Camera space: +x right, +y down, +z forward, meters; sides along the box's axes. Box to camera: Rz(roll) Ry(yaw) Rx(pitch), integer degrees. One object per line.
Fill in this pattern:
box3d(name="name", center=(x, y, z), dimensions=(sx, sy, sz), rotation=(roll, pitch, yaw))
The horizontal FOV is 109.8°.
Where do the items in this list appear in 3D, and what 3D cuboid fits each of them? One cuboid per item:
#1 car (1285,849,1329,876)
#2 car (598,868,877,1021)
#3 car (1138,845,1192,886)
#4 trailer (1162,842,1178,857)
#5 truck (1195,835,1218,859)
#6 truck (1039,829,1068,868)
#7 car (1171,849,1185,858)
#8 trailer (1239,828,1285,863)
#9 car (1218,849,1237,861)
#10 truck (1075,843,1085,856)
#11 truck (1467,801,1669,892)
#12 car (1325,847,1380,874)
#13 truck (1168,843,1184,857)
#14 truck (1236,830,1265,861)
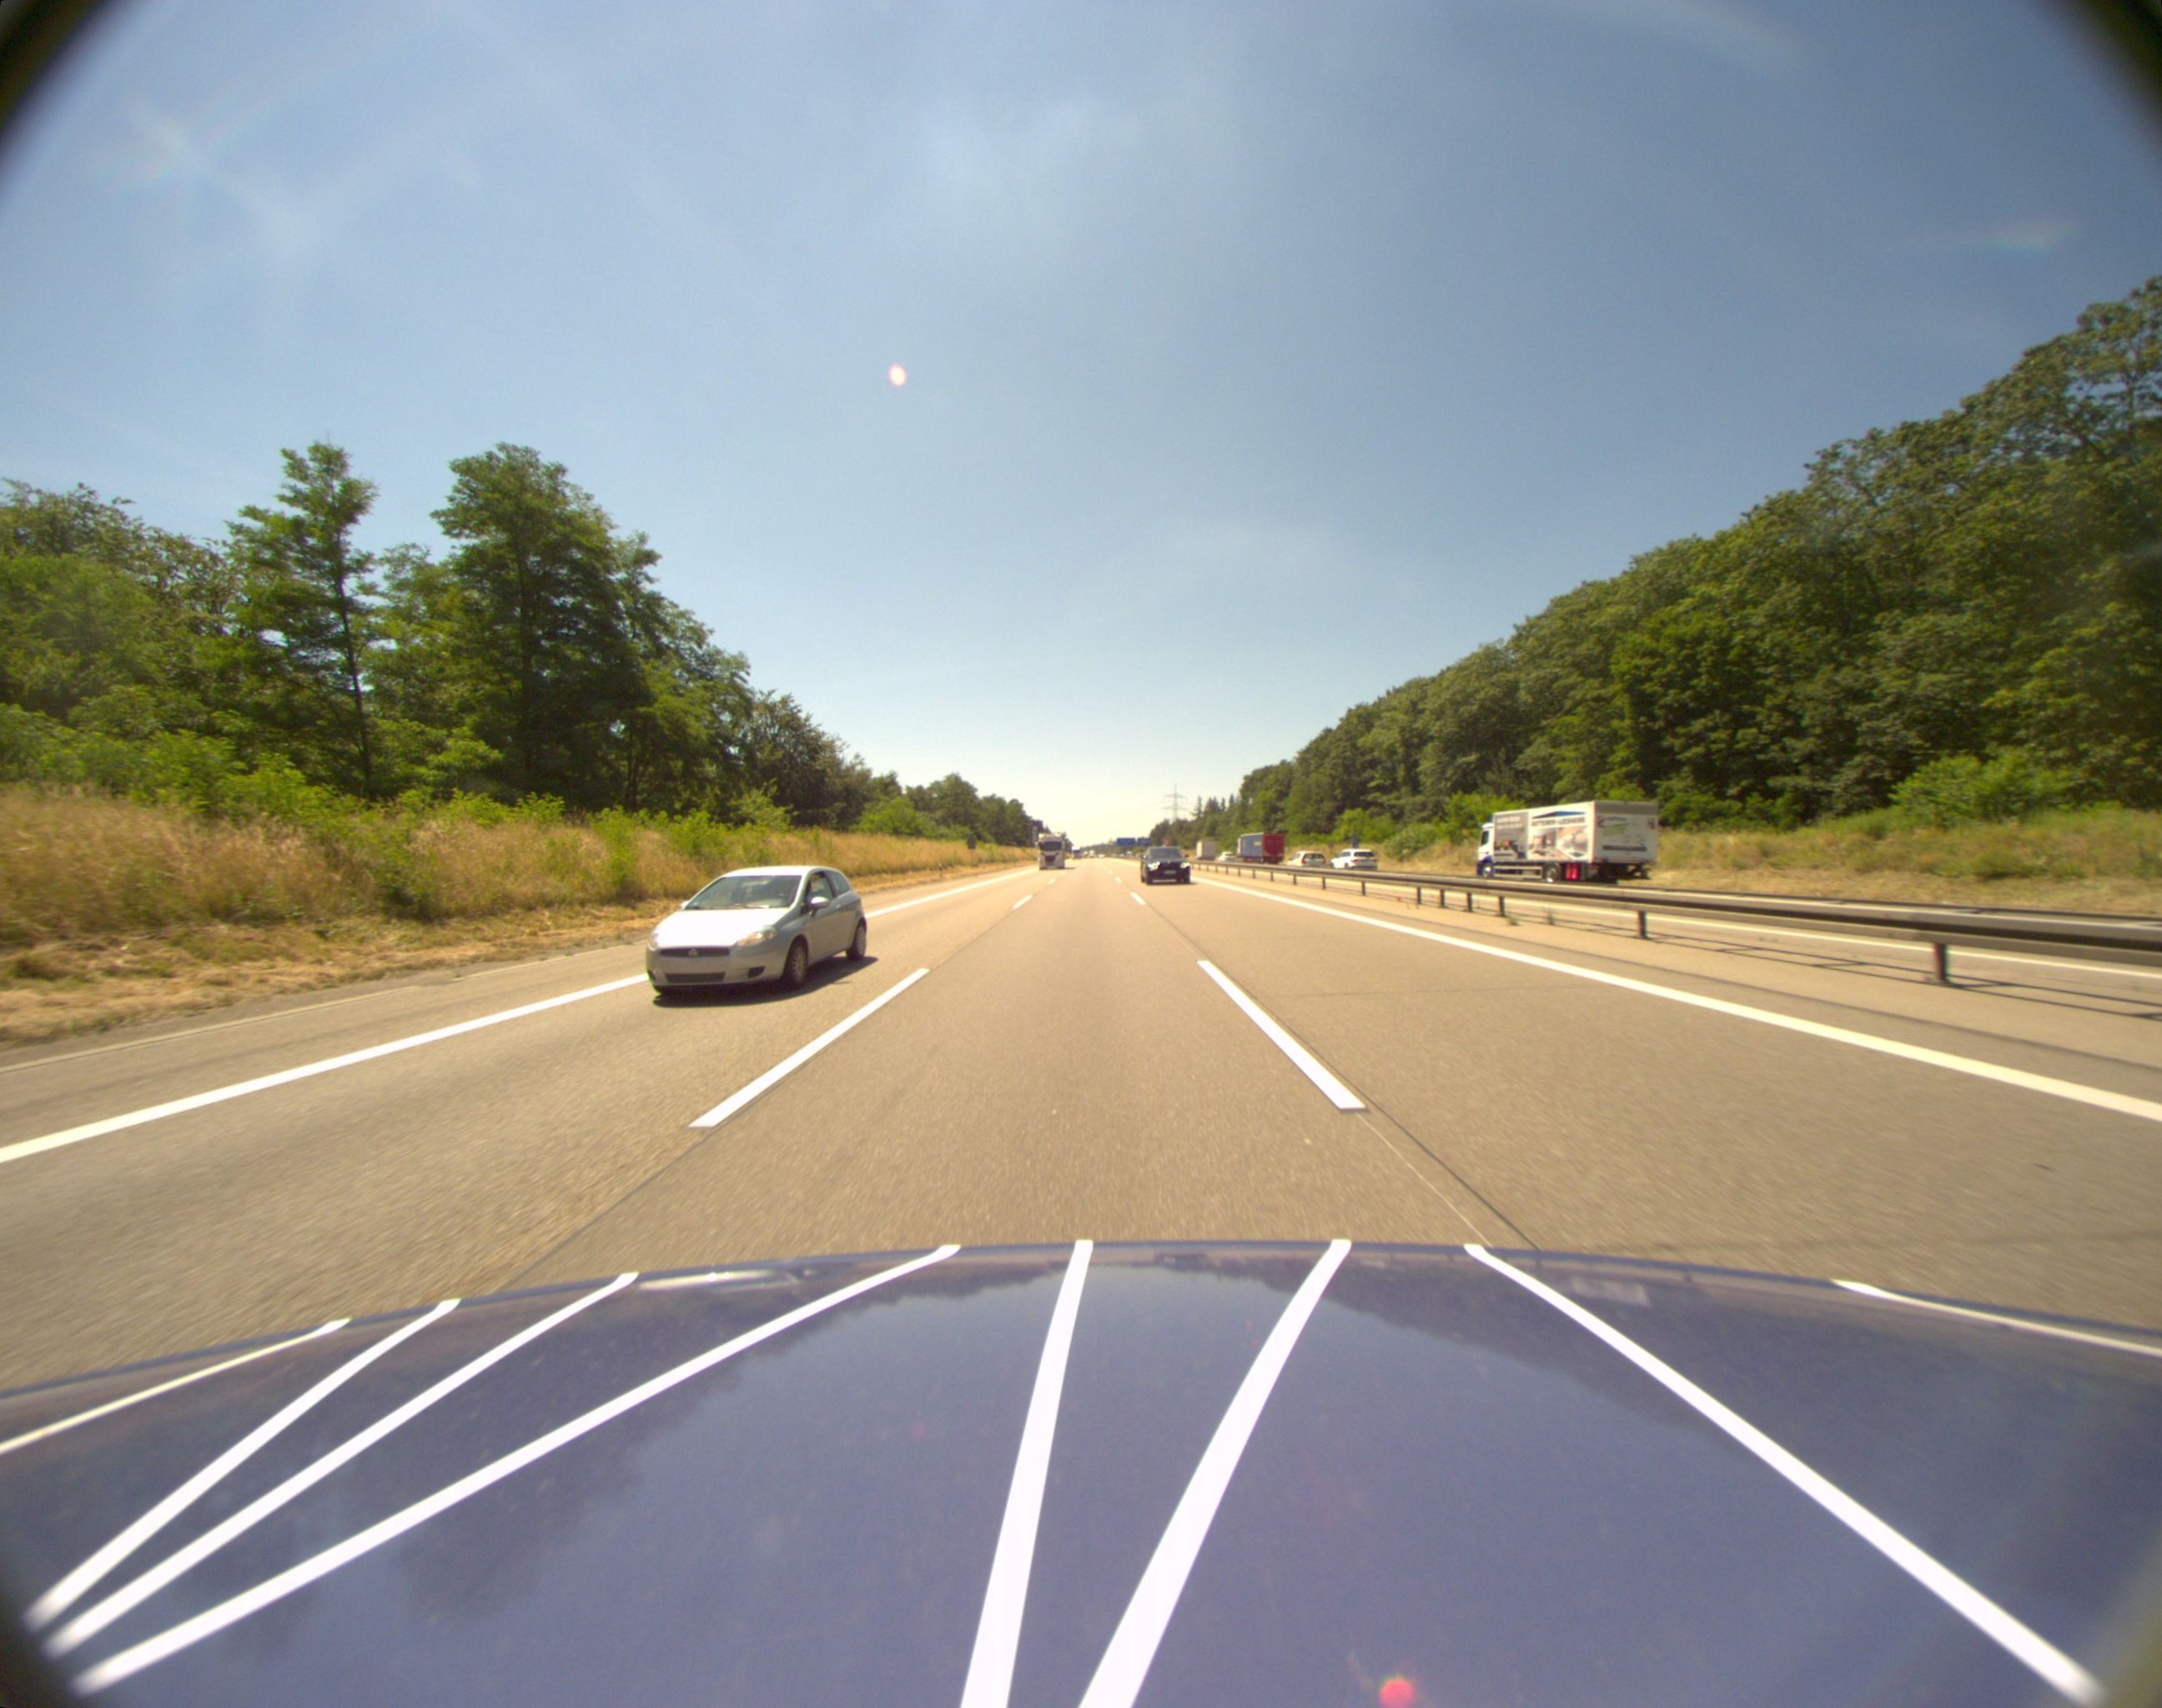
box3d(name="car", center=(13.201, 0.451, 44.525), dimensions=(1.520, 1.459, 3.639), rotation=(2, 0, 1))
box3d(name="car", center=(-4.191, 1.005, 10.074), dimensions=(1.749, 1.457, 3.980), rotation=(-2, 1, 2))
box3d(name="car", center=(3.924, 0.501, 36.400), dimensions=(1.945, 1.742, 5.813), rotation=(-2, 0, 0))
box3d(name="trailer", center=(25.145, -1.286, 215.264), dimensions=(2.819, 4.095, 14.547), rotation=(2, 0, 0))
box3d(name="truck", center=(19.748, -1.026, 119.916), dimensions=(2.463, 3.585, 8.119), rotation=(2, 1, 1))
box3d(name="truck", center=(-2.906, -0.579, 80.905), dimensions=(2.605, 3.811, 5.969), rotation=(-2, 0, 1))
box3d(name="car", center=(14.804, -0.064, 116.396), dimensions=(1.608, 1.391, 4.544), rotation=(2, 0, 0))
box3d(name="trailer", center=(22.634, -1.020, 95.880), dimensions=(2.511, 3.991, 14.367), rotation=(2, 0, 1))
box3d(name="car", center=(18.591, 0.106, 96.692), dimensions=(1.608, 1.550, 4.469), rotation=(2, 0, 1))
box3d(name="truck", center=(-0.335, -1.364, 231.248), dimensions=(2.593, 3.534, 8.649), rotation=(-2, 0, 1))
box3d(name="truck", center=(21.812, -0.337, 35.130), dimensions=(2.738, 3.498, 10.441), rotation=(2, 0, 1))
box3d(name="car", center=(17.662, 0.380, 49.663), dimensions=(1.731, 1.636, 5.088), rotation=(2, 0, 0))
box3d(name="truck", center=(18.019, -0.743, 144.696), dimensions=(2.088, 2.608, 8.031), rotation=(2, 0, 1))
box3d(name="truck", center=(22.764, -1.071, 102.487), dimensions=(2.511, 3.991, 6.124), rotation=(2, 1, 1))
